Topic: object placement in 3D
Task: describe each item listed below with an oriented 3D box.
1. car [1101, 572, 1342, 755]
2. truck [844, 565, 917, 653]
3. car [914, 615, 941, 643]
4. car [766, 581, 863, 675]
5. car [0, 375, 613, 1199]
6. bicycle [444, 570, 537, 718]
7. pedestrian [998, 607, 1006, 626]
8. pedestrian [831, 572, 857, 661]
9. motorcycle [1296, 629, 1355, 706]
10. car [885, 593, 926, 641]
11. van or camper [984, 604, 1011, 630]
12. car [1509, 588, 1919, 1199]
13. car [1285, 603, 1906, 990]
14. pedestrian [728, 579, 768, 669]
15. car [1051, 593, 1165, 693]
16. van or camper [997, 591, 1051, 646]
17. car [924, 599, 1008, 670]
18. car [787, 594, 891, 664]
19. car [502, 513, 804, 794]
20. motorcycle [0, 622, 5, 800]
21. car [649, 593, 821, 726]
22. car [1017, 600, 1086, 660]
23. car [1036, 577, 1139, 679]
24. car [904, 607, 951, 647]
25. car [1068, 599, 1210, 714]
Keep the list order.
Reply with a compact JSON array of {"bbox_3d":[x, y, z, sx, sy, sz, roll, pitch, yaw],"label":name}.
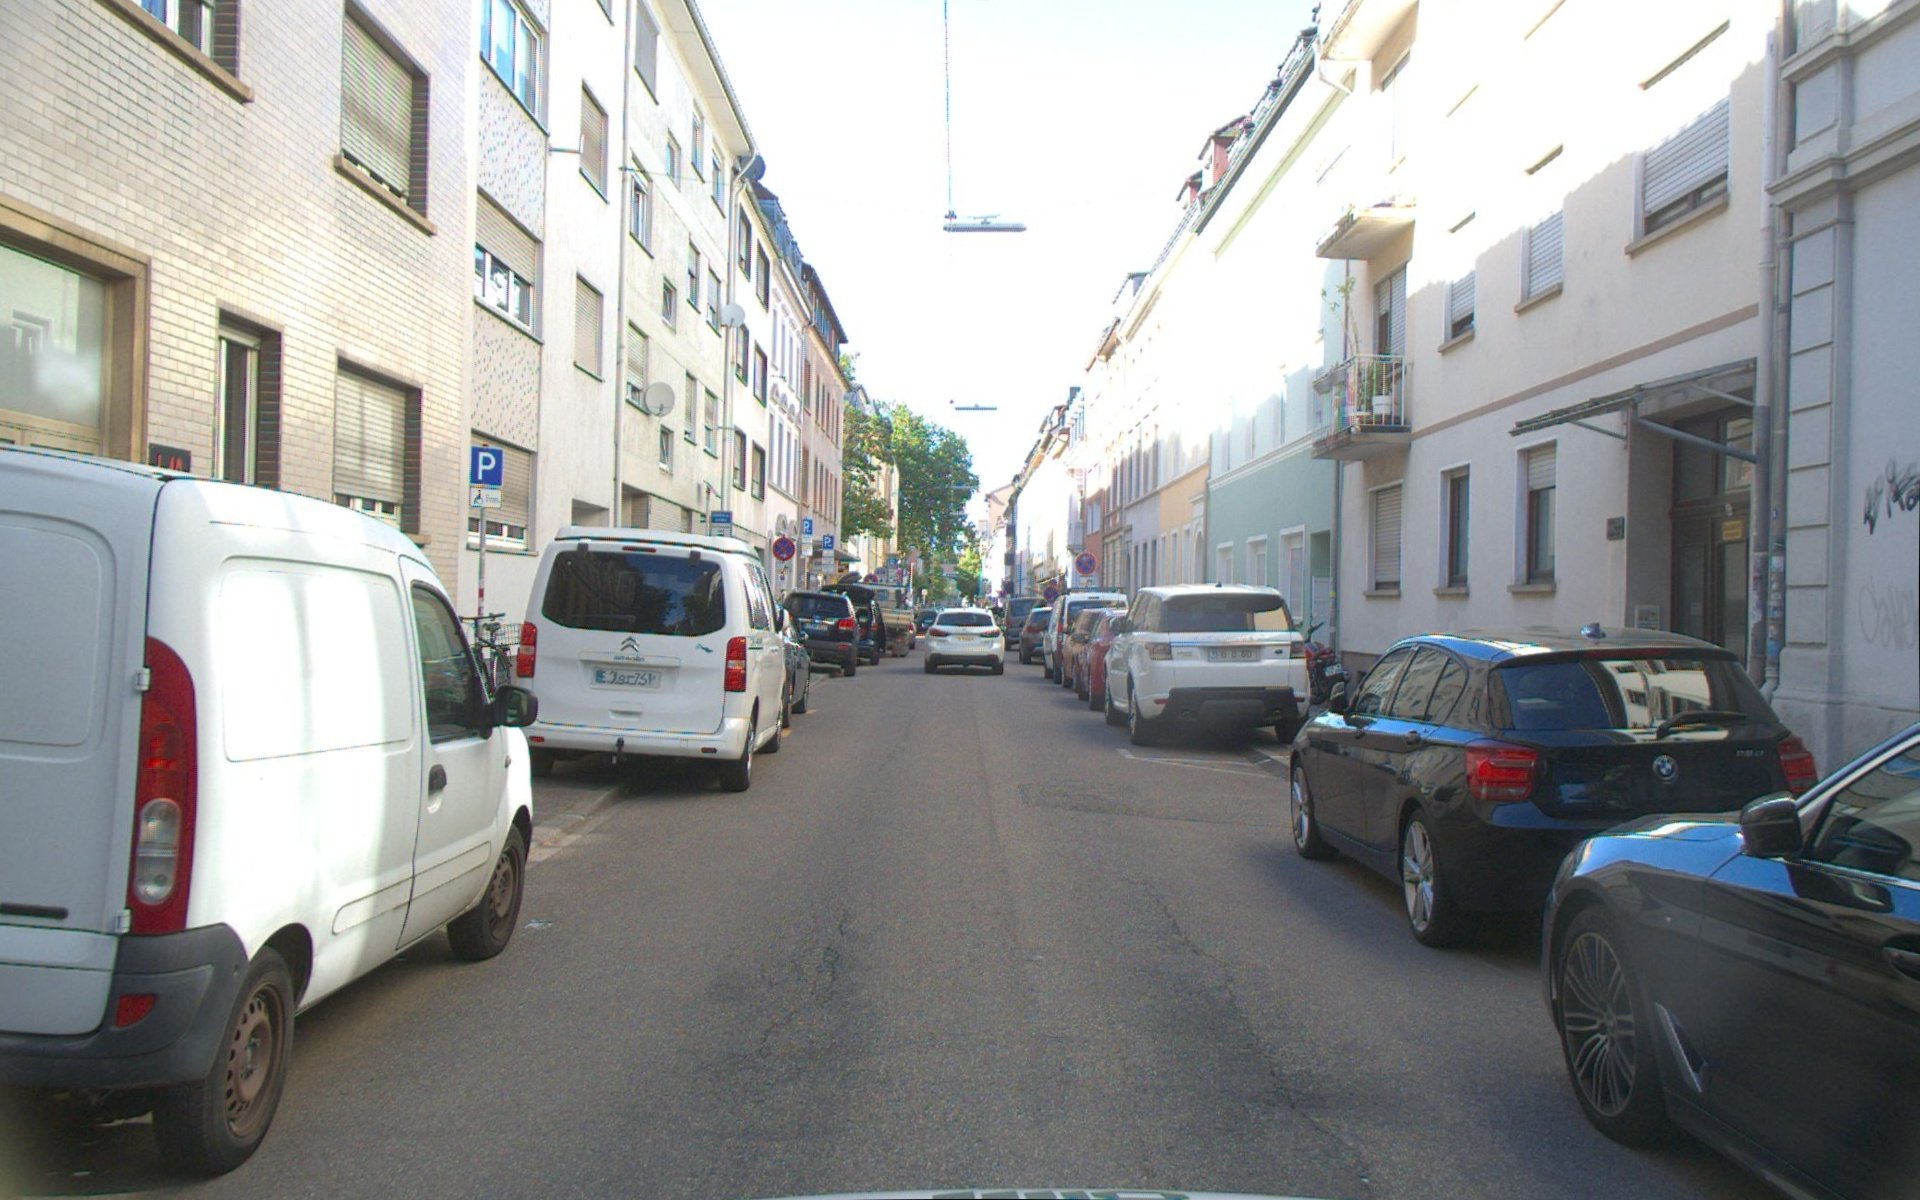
[{"bbox_3d":[2.858,0.625,19.178,1.964,1.815,4.938,1,0,0],"label":"car"},{"bbox_3d":[-2.594,0.346,52.743,2.114,2.636,6.242,1,-1,-5],"label":"truck"},{"bbox_3d":[-2.037,1.823,104.912,1.591,1.625,3.580,2,0,0],"label":"car"},{"bbox_3d":[-3.110,0.560,36.024,1.842,1.786,4.539,4,0,-4],"label":"car"},{"bbox_3d":[-2.523,0.423,5.605,1.709,1.908,4.089,5,0,0],"label":"car"},{"bbox_3d":[-5.164,0.468,18.276,0.546,1.535,1.799,3,-1,-4],"label":"bicycle"},{"bbox_3d":[3.273,1.314,129.428,0.614,1.490,0.575,1,-2,0],"label":"pedestrian"},{"bbox_3d":[-2.981,0.429,42.514,0.606,2.268,0.688,1,-2,0],"label":"pedestrian"},{"bbox_3d":[5.372,0.977,24.350,0.470,1.064,1.691,1,0,-1],"label":"motorcycle"},{"bbox_3d":[-2.300,0.697,68.854,1.614,1.900,3.998,1,0,-3],"label":"car"},{"bbox_3d":[2.874,1.329,128.103,1.953,1.960,3.999,1,-2,0],"label":"van or camper"},{"bbox_3d":[2.768,0.794,3.167,1.778,1.546,4.727,3,0,0],"label":"car"},{"bbox_3d":[2.993,0.812,8.728,1.711,1.474,3.869,3,0,0],"label":"car"},{"bbox_3d":[-4.654,0.520,36.376,0.789,1.968,0.690,0,0,0],"label":"pedestrian"},{"bbox_3d":[2.666,0.750,30.396,1.549,1.660,3.680,2,0,-3],"label":"car"},{"bbox_3d":[2.488,0.721,65.269,1.739,2.072,4.568,-1,-1,-2],"label":"van or camper"},{"bbox_3d":[0.160,0.763,38.035,1.796,1.512,4.057,1,0,1],"label":"car"},{"bbox_3d":[-3.208,0.750,44.991,2.391,1.735,5.242,1,0,0],"label":"car"},{"bbox_3d":[-2.508,0.387,14.704,1.856,1.992,4.779,3,0,-2],"label":"car"},{"bbox_3d":[-5.135,0.710,7.465,0.424,1.206,2.121,1,0,-1],"label":"motorcycle"},{"bbox_3d":[-2.760,0.699,21.169,1.672,1.475,4.300,2,0,-1],"label":"car"},{"bbox_3d":[2.601,0.833,47.664,1.704,1.604,4.377,1,0,0],"label":"car"},{"bbox_3d":[2.644,0.586,35.122,1.746,1.996,4.335,1,-1,-1],"label":"car"},{"bbox_3d":[-1.269,1.014,63.941,1.722,1.440,3.999,-1,0,-1],"label":"car"},{"bbox_3d":[2.693,0.810,25.615,1.706,1.596,4.032,1,0,-1],"label":"car"}]
